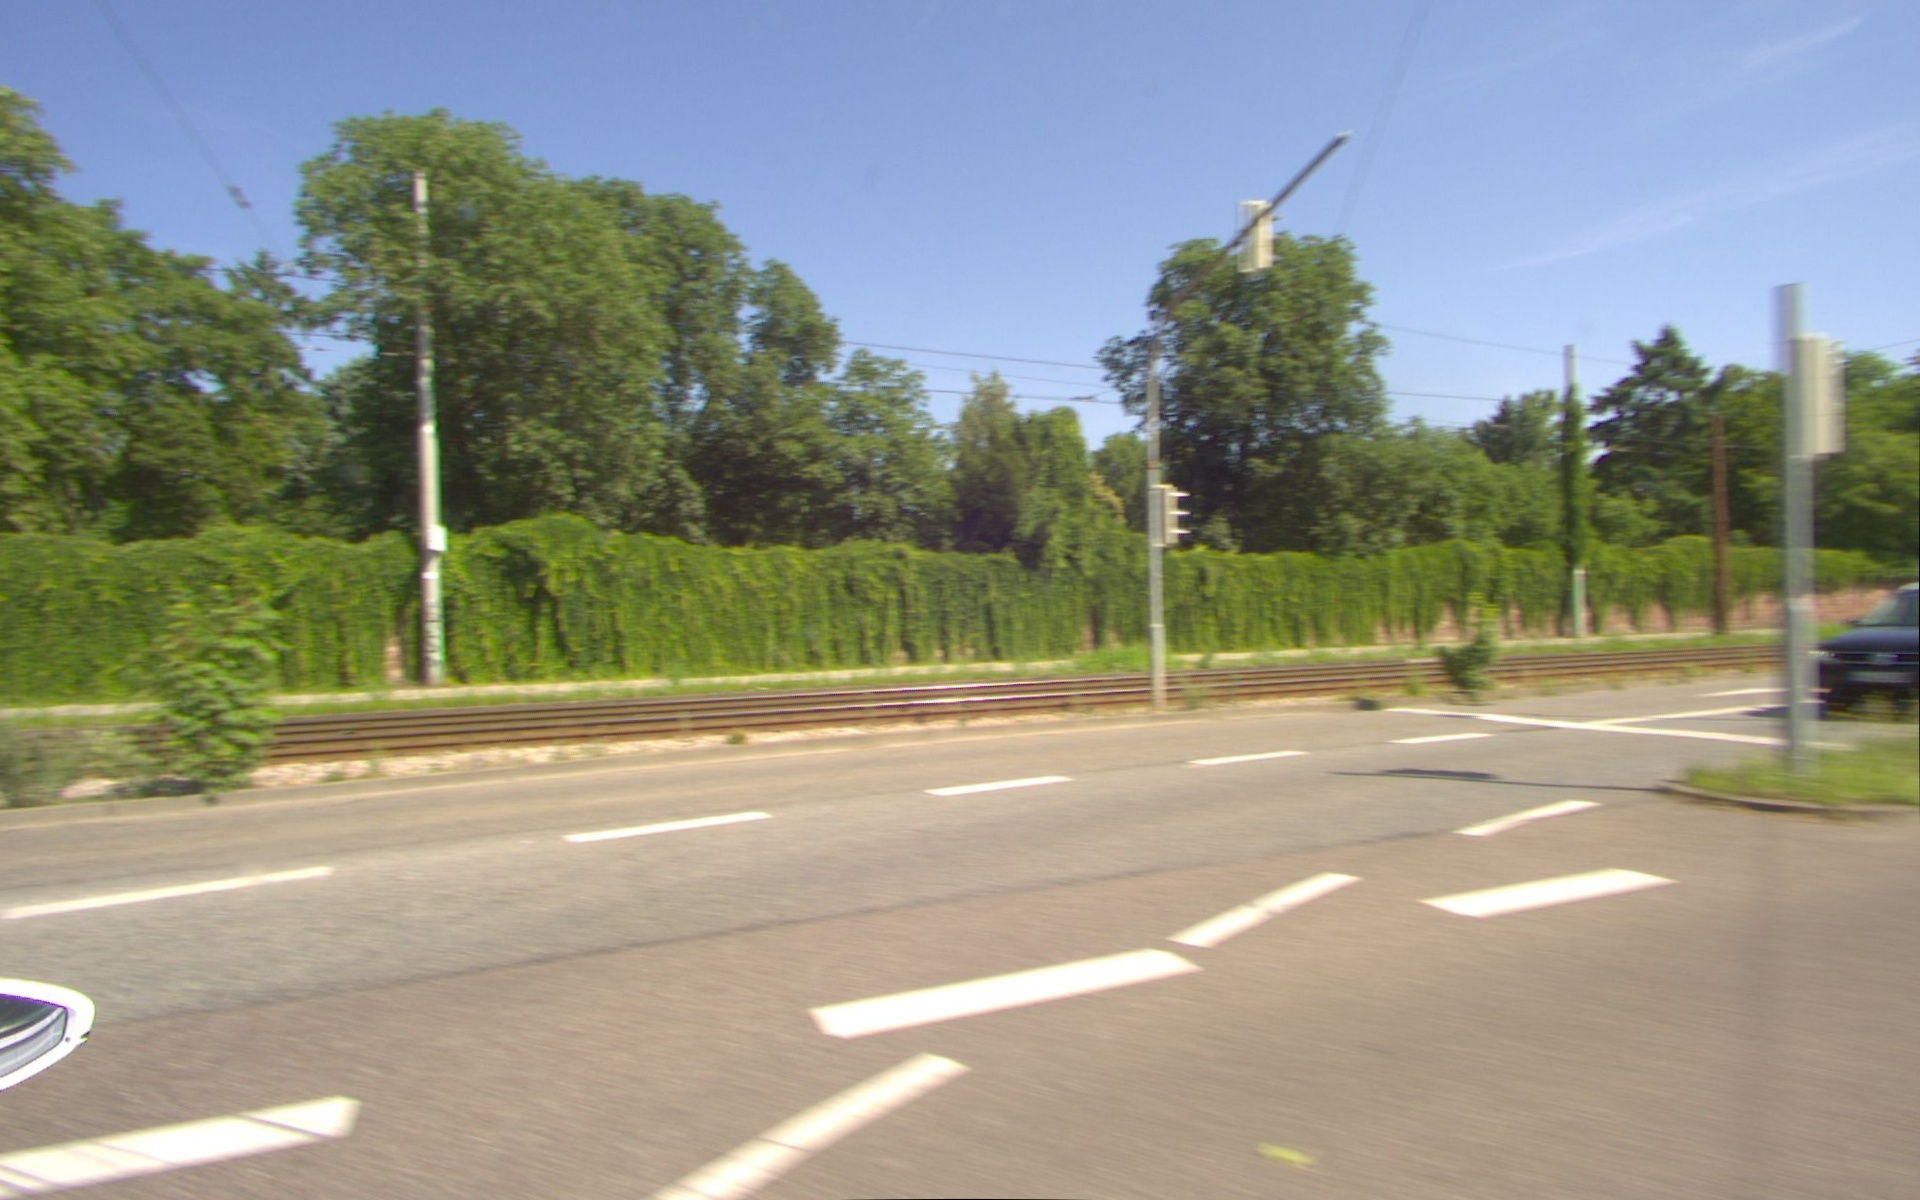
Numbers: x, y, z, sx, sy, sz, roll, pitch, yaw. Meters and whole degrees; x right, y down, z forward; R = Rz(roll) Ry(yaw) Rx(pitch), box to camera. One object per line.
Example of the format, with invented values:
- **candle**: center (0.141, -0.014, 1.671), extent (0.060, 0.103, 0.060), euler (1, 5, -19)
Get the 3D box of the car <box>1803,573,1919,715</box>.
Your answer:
- **car**: center (12.710, 0.477, 12.557), extent (4.437, 1.603, 1.748), euler (-1, 0, -28)
